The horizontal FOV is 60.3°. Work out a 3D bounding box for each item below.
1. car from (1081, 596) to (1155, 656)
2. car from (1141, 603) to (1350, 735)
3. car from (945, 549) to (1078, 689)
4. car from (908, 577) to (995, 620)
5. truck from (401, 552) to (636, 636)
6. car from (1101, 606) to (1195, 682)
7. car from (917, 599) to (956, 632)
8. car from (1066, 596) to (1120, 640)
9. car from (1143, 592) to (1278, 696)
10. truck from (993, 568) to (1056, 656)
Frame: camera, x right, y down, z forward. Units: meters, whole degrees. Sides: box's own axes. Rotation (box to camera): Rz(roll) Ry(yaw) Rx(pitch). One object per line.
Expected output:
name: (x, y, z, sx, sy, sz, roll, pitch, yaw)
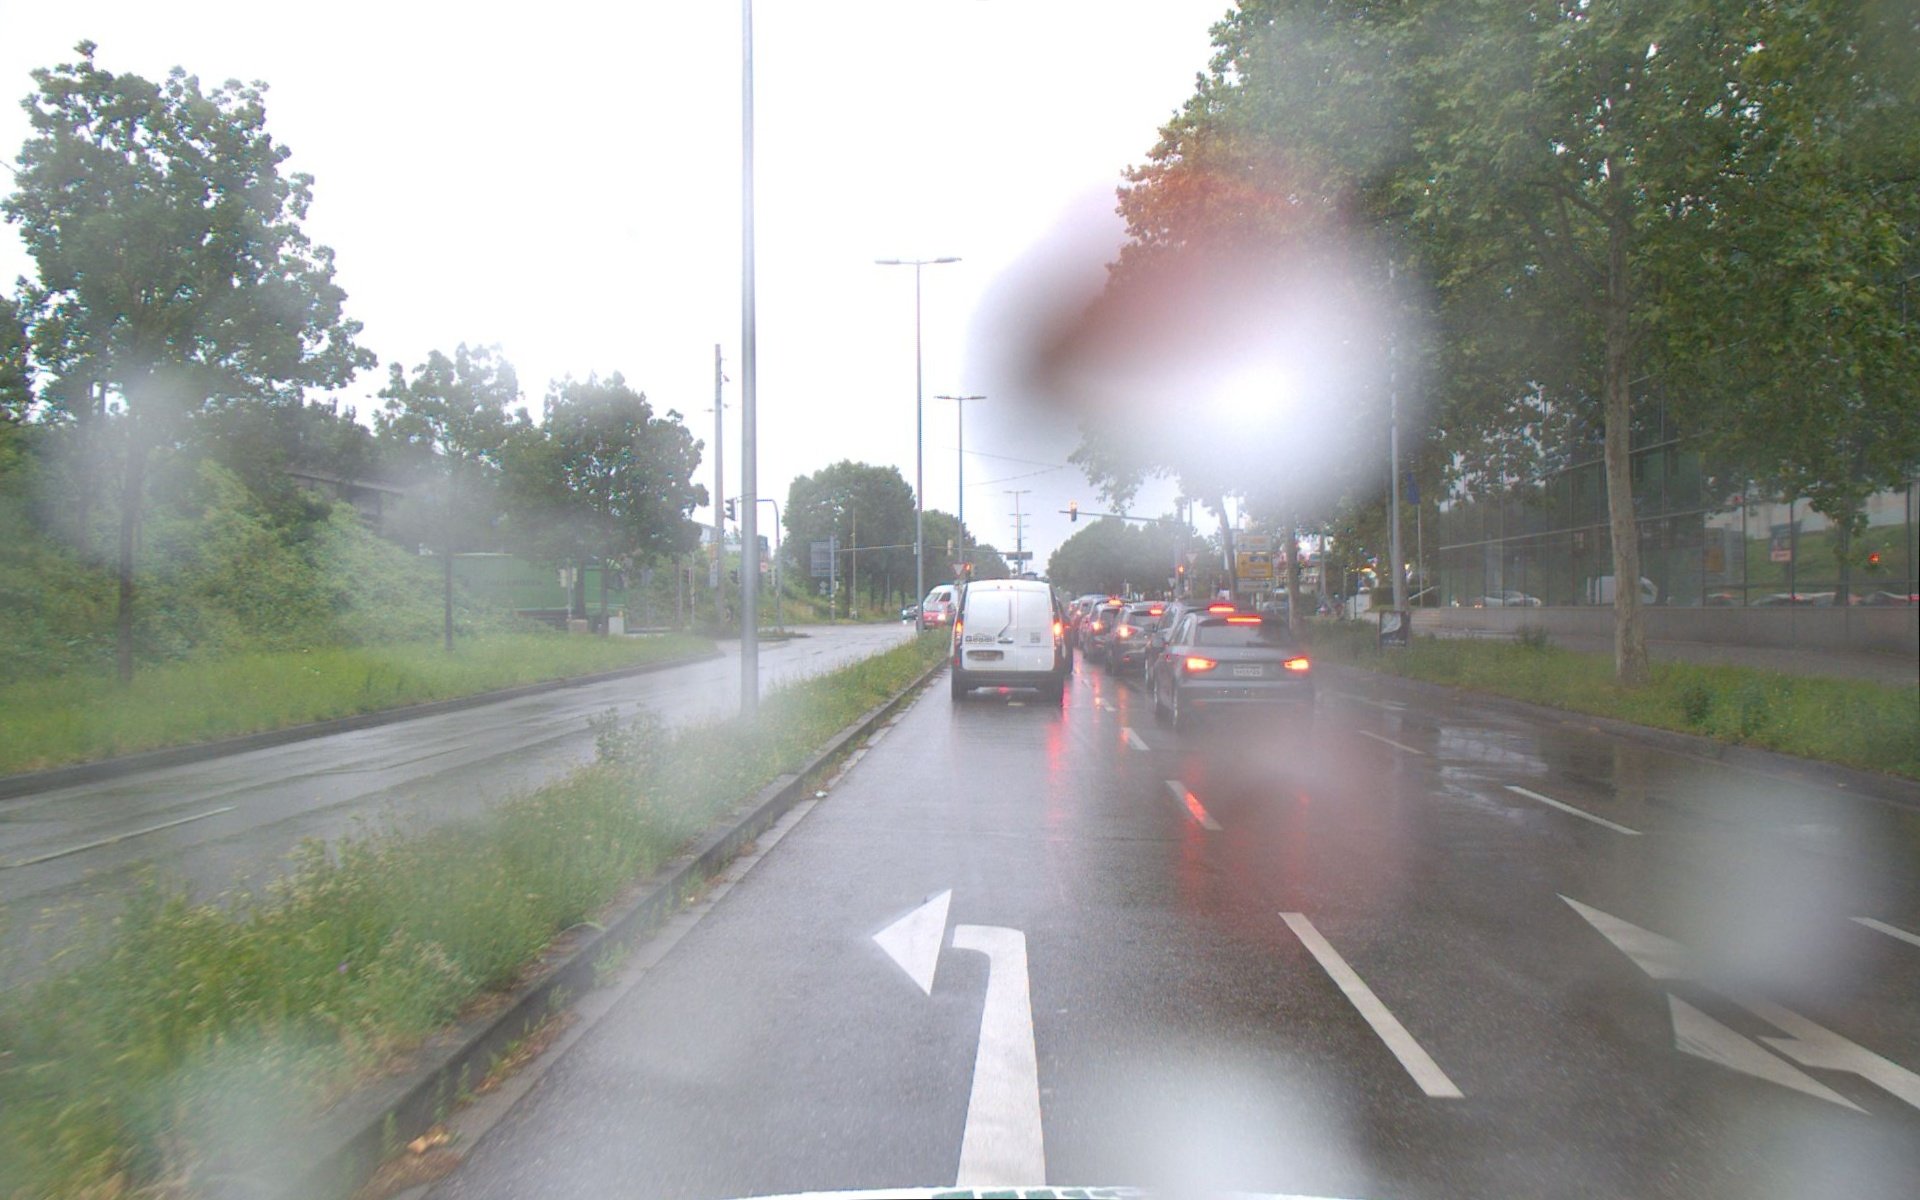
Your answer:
car: (4.018, 0.633, 42.591, 1.676, 1.470, 4.001, 0, 0, 2)
car: (3.460, 0.799, 20.787, 1.952, 1.478, 4.000, 1, 0, 0)
car: (0.775, 0.295, 26.302, 1.952, 2.049, 4.000, 0, 0, 0)
car: (-0.587, -0.099, 113.721, 5.949, 2.792, 1.976, 2, -2, -35)
truck: (-19.830, -0.172, 74.790, 10.024, 3.512, 2.625, 2, -2, -35)
car: (3.920, 0.888, 35.040, 1.676, 1.470, 4.001, 0, 0, 2)
car: (-1.176, 0.786, 83.906, 1.680, 1.540, 3.615, -2, 0, 3)
car: (4.562, 0.607, 57.281, 1.676, 1.470, 4.001, 0, 0, 2)
car: (4.082, 0.666, 27.536, 1.673, 1.577, 4.000, 0, 1, 0)
truck: (1.878, 0.358, 49.102, 1.720, 2.509, 4.000, 0, 0, 1)
